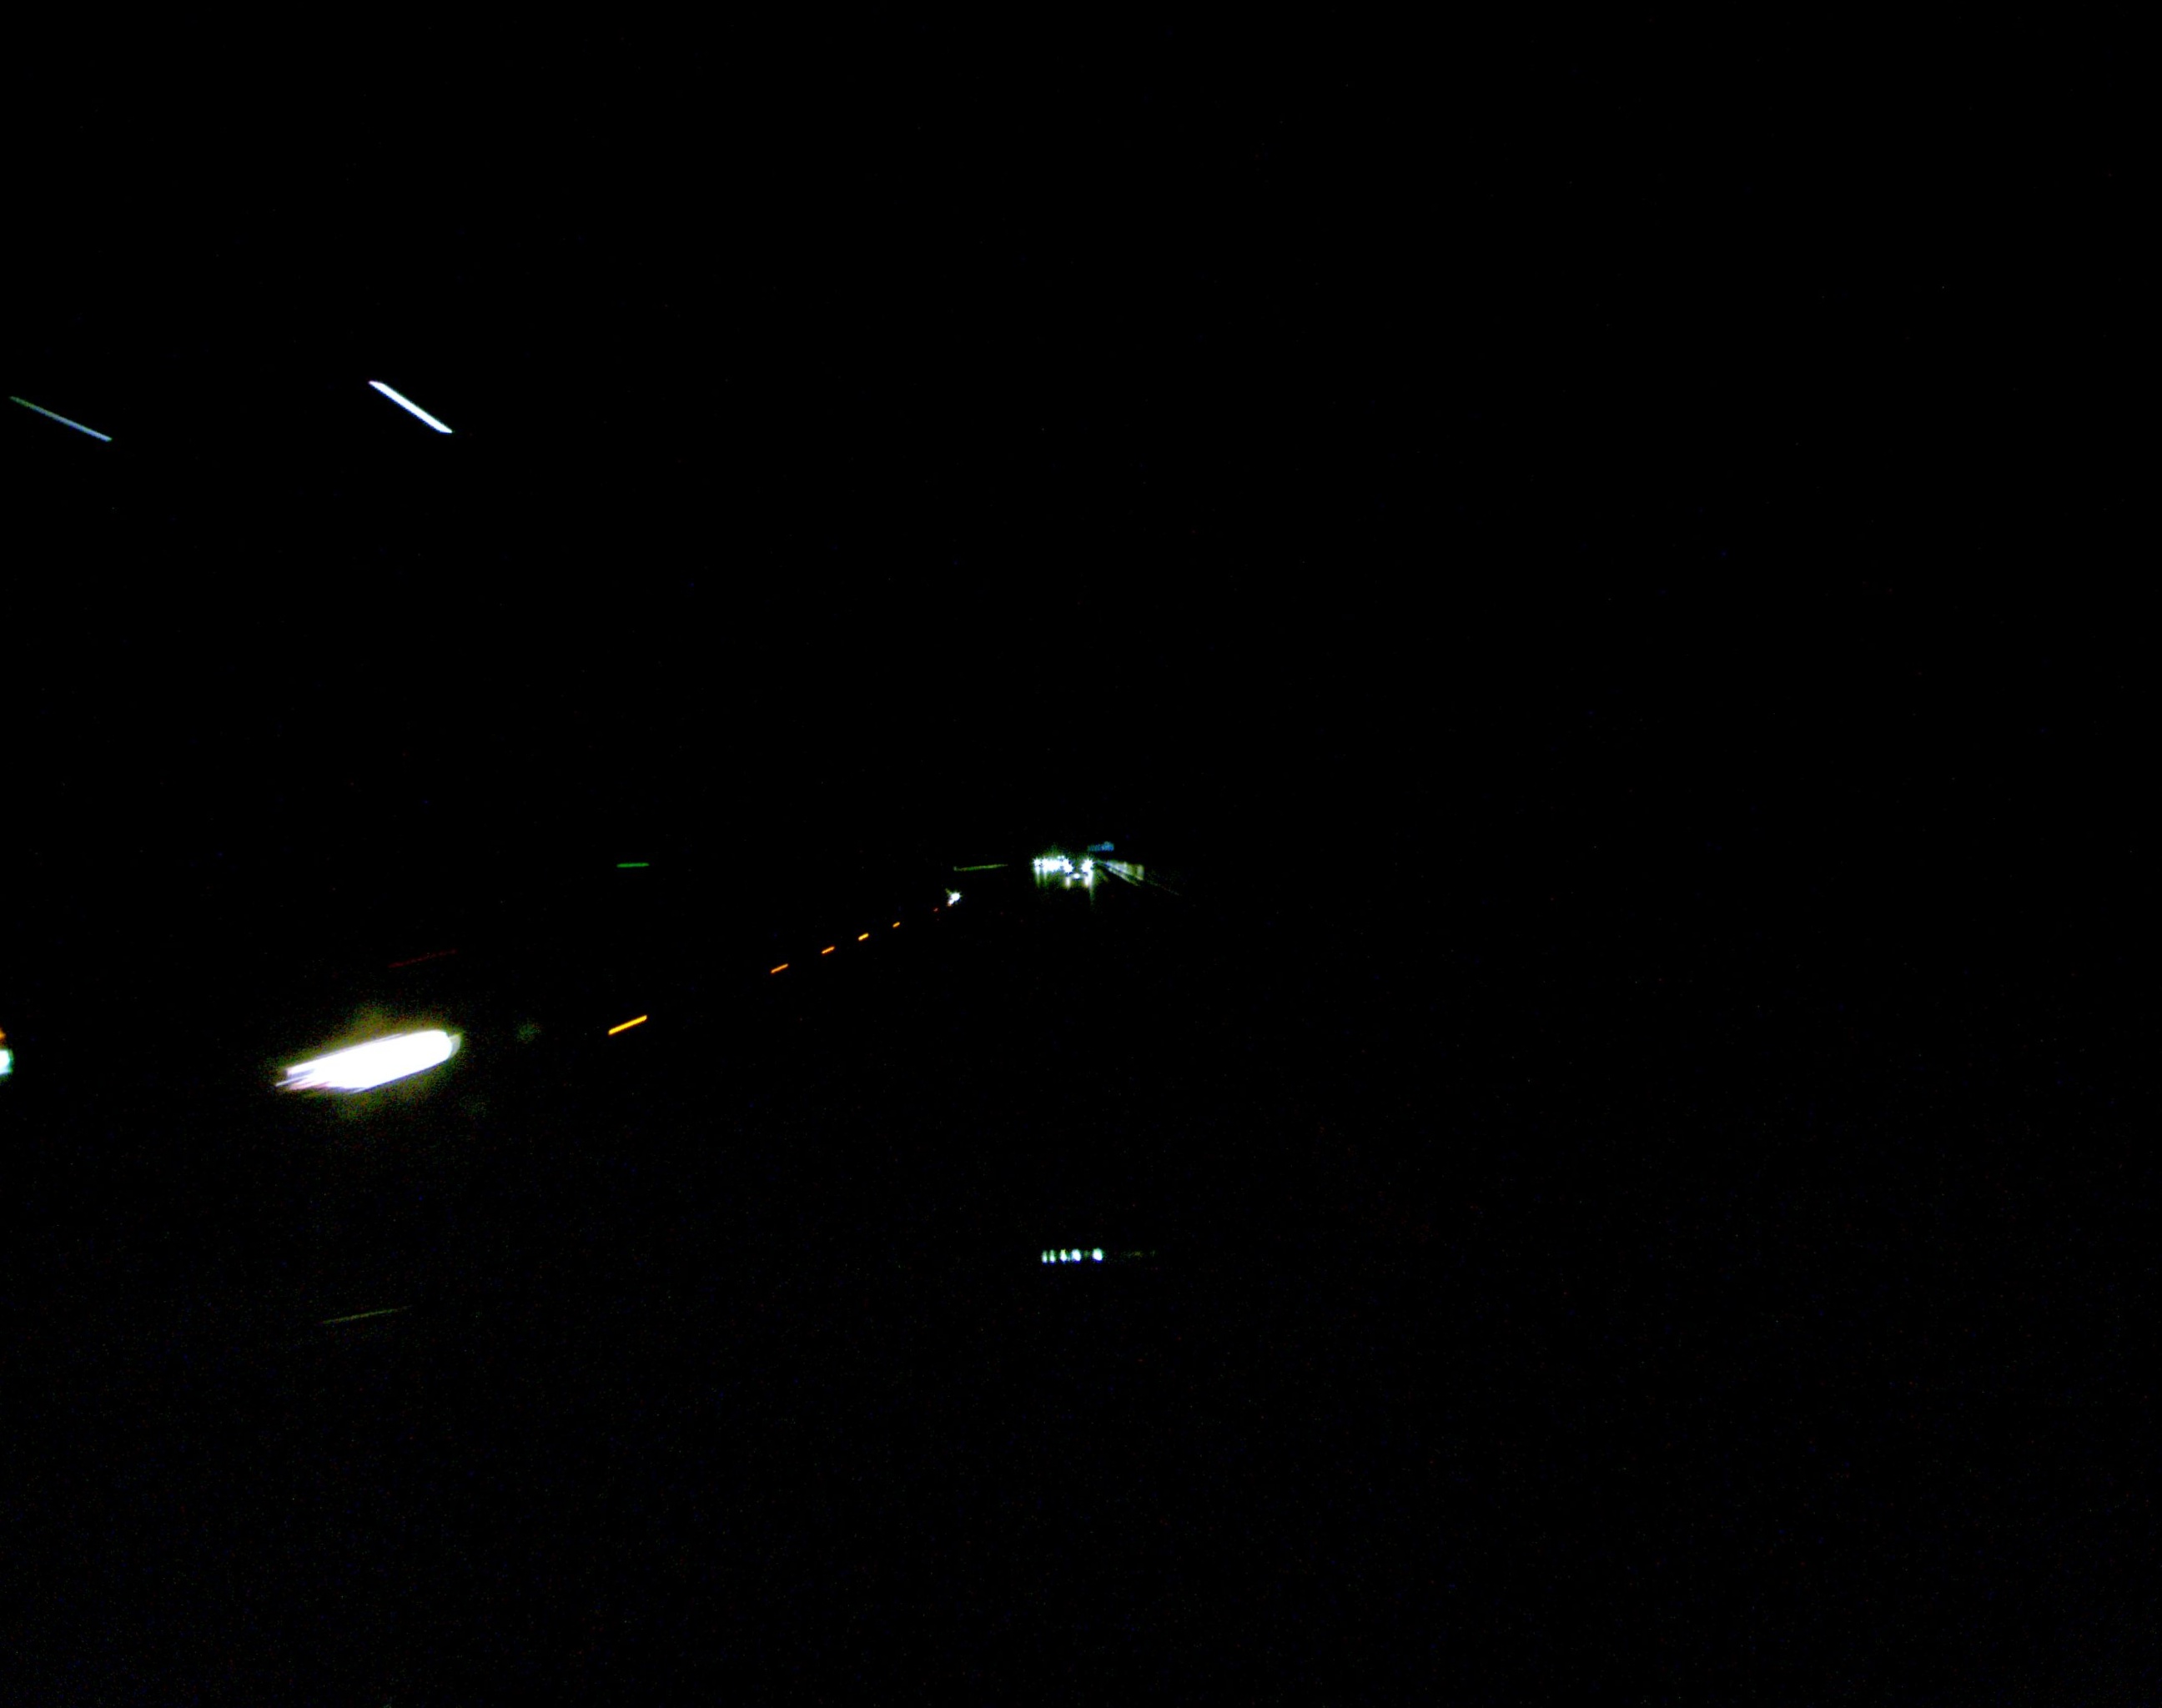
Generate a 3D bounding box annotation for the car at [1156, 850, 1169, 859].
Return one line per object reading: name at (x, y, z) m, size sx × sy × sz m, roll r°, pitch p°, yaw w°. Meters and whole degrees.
car at (16.828, 0.084, 157.584) m, size 1.998 × 1.626 × 4.749 m, roll -6°, pitch -1°, yaw -1°

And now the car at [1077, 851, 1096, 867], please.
car at (0.639, 0.575, 88.678) m, size 2.012 × 1.652 × 4.001 m, roll -6°, pitch -1°, yaw 1°

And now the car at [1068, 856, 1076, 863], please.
car at (-2.492, 1.503, 203.175) m, size 1.939 × 1.608 × 4.000 m, roll -6°, pitch -1°, yaw -1°

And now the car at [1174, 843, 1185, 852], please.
car at (22.349, -1.495, 172.749) m, size 1.999 × 1.914 × 3.999 m, roll -2°, pitch 0°, yaw -1°

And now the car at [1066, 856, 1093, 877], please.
car at (-0.156, 0.966, 58.835) m, size 1.840 × 1.392 × 5.069 m, roll -6°, pitch -1°, yaw -2°

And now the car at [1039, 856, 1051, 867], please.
car at (-6.709, 1.449, 141.185) m, size 1.999 × 1.707 × 5.168 m, roll -6°, pitch -1°, yaw -1°

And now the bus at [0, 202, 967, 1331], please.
bus at (-4.095, -0.298, 10.069) m, size 2.659 × 3.971 × 14.700 m, roll -3°, pitch 0°, yaw 0°
